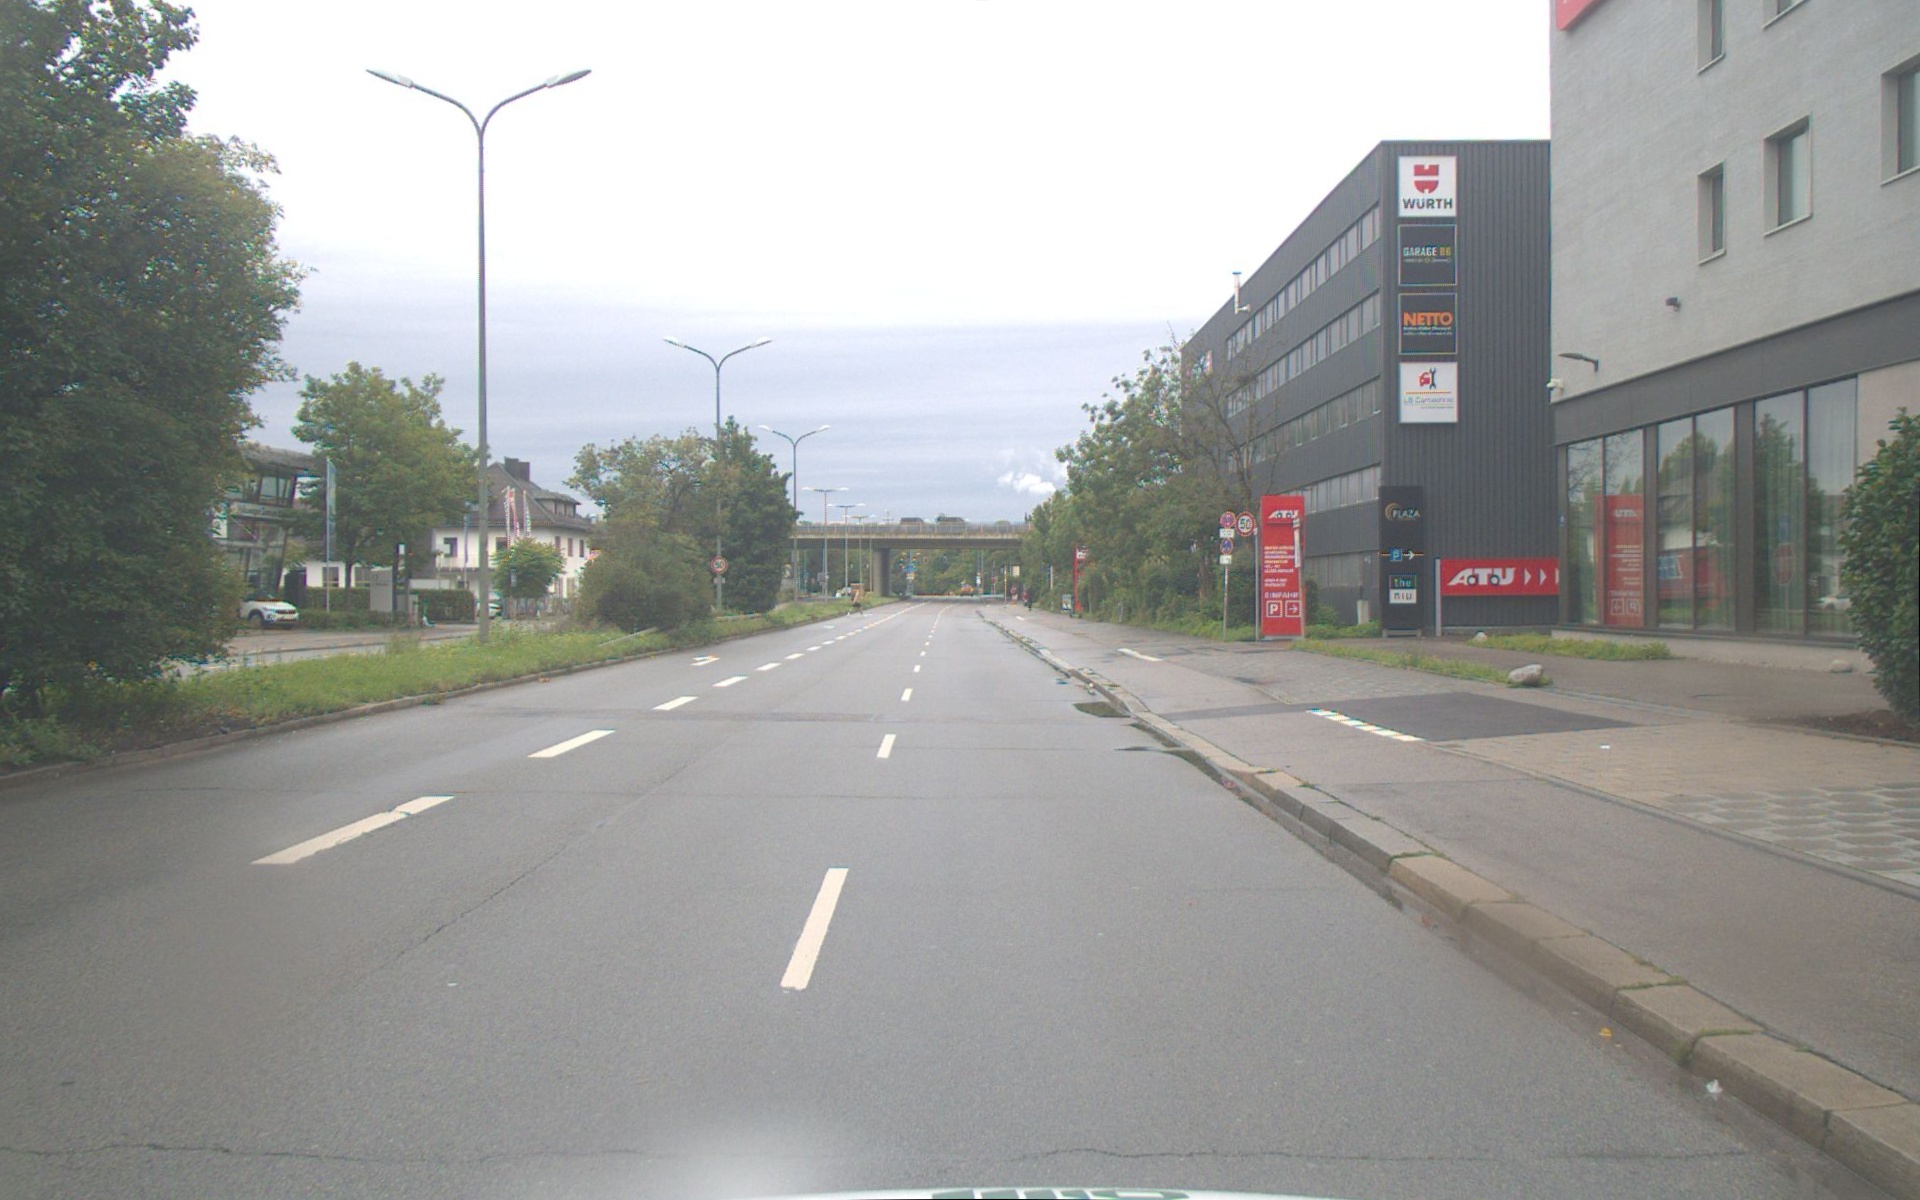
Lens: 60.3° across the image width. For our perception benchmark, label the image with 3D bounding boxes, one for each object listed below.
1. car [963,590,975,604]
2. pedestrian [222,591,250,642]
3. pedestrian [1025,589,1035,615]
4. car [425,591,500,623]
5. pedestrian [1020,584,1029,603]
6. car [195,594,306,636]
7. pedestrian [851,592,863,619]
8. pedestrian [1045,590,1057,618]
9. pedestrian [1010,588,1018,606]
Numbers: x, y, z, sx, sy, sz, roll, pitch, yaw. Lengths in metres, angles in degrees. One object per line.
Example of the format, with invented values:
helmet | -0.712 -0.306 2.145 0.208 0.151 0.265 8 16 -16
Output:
car | 1.304 -0.443 243.368 1.775 2.049 3.834 1 0 1
pedestrian | -24.023 0.543 54.860 0.623 1.638 0.621 -2 0 -1
pedestrian | 5.239 0.128 124.436 0.675 1.909 0.662 -2 0 -1
car | -29.387 0.433 97.745 4.070 1.738 1.843 -2 0 -13
pedestrian | 5.778 -0.564 148.120 0.675 1.645 0.662 -2 0 -1
car | -28.484 0.613 66.440 3.904 1.535 1.801 -2 0 21
pedestrian | -6.473 0.353 103.850 0.646 1.645 0.691 -2 0 4
pedestrian | 6.228 0.248 113.045 0.675 1.909 0.662 -2 0 -1
pedestrian | 4.832 -0.262 147.492 0.675 1.645 0.662 -2 0 -1
